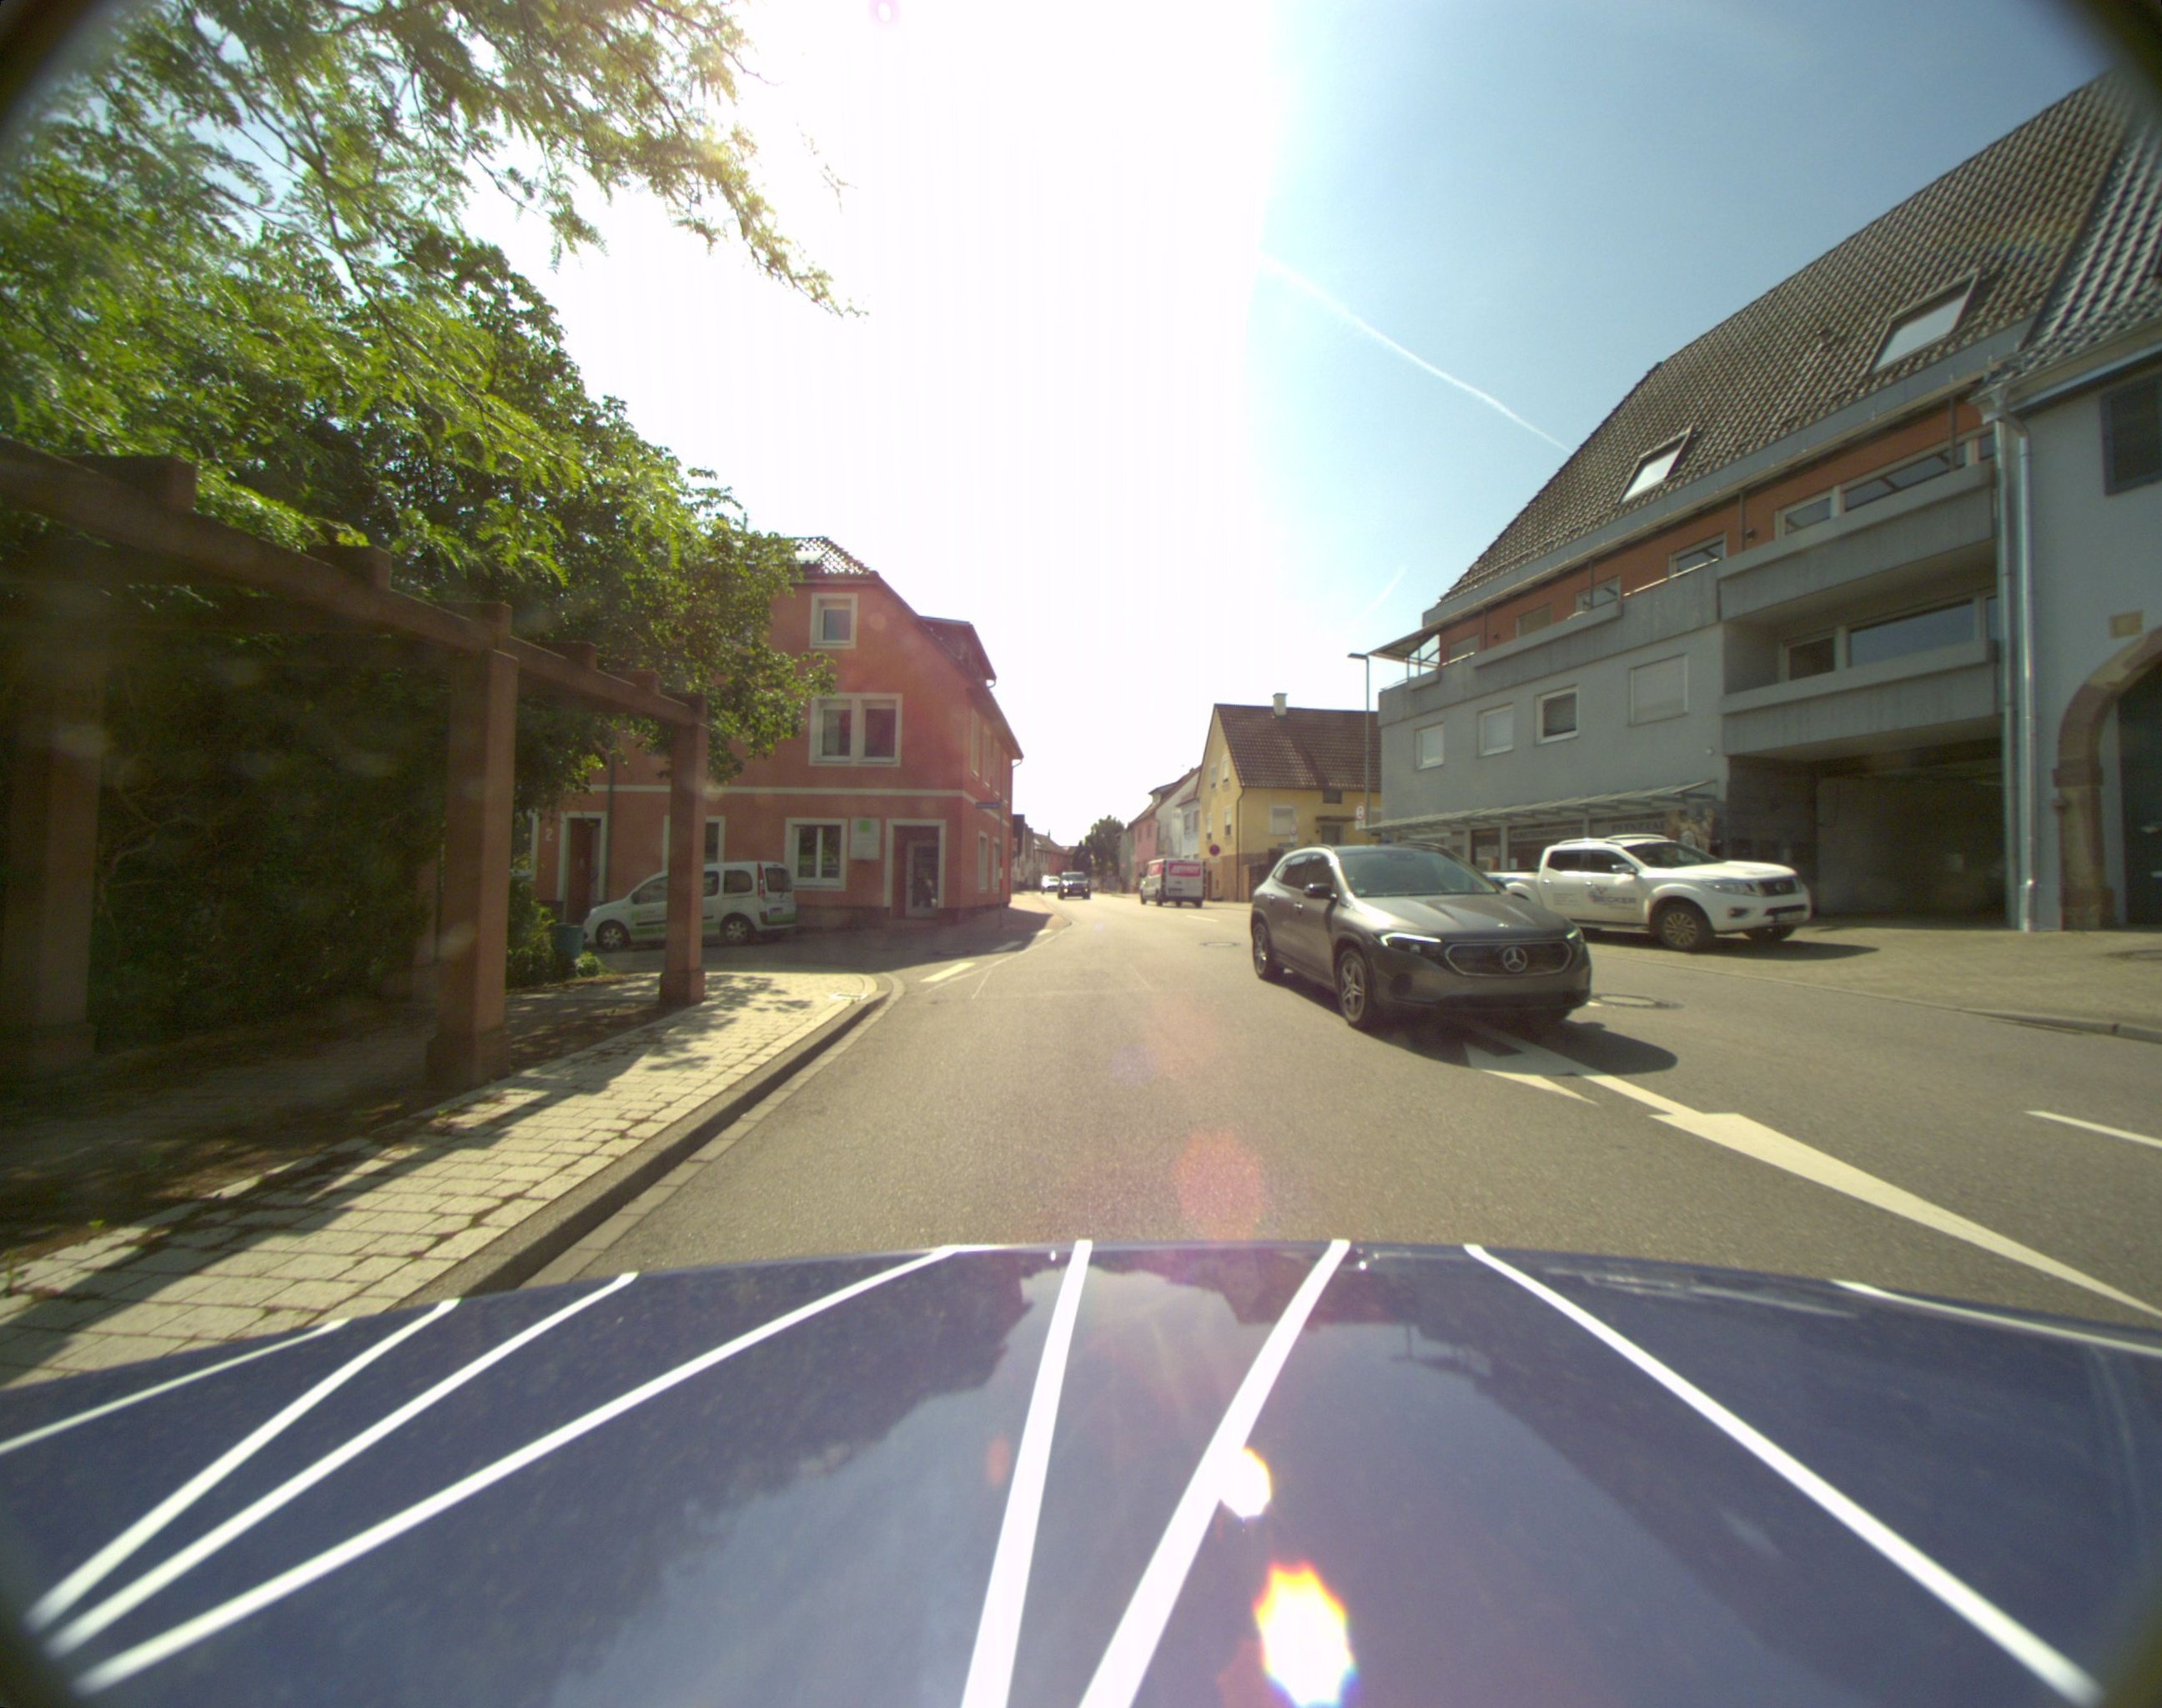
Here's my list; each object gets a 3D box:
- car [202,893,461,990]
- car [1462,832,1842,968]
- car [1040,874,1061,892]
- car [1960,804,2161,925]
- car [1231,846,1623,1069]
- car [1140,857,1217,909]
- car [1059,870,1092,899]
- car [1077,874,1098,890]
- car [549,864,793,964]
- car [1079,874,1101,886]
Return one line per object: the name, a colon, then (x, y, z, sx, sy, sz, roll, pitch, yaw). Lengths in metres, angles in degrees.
car: (-14.623, 1.669, 14.945, 3.499, 1.516, 1.577, -4, 0, 2)
car: (9.486, 0.723, 13.393, 1.811, 1.787, 5.280, -5, -1, -15)
car: (-2.785, 2.627, 68.880, 1.780, 1.533, 4.097, 0, -1, -4)
car: (18.898, 0.153, 13.874, 4.124, 2.001, 1.875, -1, -1, -11)
car: (2.945, 0.809, 7.651, 1.738, 1.563, 4.290, -1, -2, -4)
car: (3.890, 1.169, 31.409, 1.975, 1.921, 5.312, 1, -1, -6)
car: (-0.378, 1.852, 46.636, 1.793, 1.642, 4.392, 0, 0, -4)
car: (0.653, 2.790, 75.255, 1.734, 1.532, 3.812, 1, -2, -4)
car: (-8.514, 1.204, 16.006, 4.096, 1.743, 1.813, -4, 0, 4)
car: (1.544, 4.287, 126.029, 1.944, 1.841, 4.518, -2, -1, 25)
